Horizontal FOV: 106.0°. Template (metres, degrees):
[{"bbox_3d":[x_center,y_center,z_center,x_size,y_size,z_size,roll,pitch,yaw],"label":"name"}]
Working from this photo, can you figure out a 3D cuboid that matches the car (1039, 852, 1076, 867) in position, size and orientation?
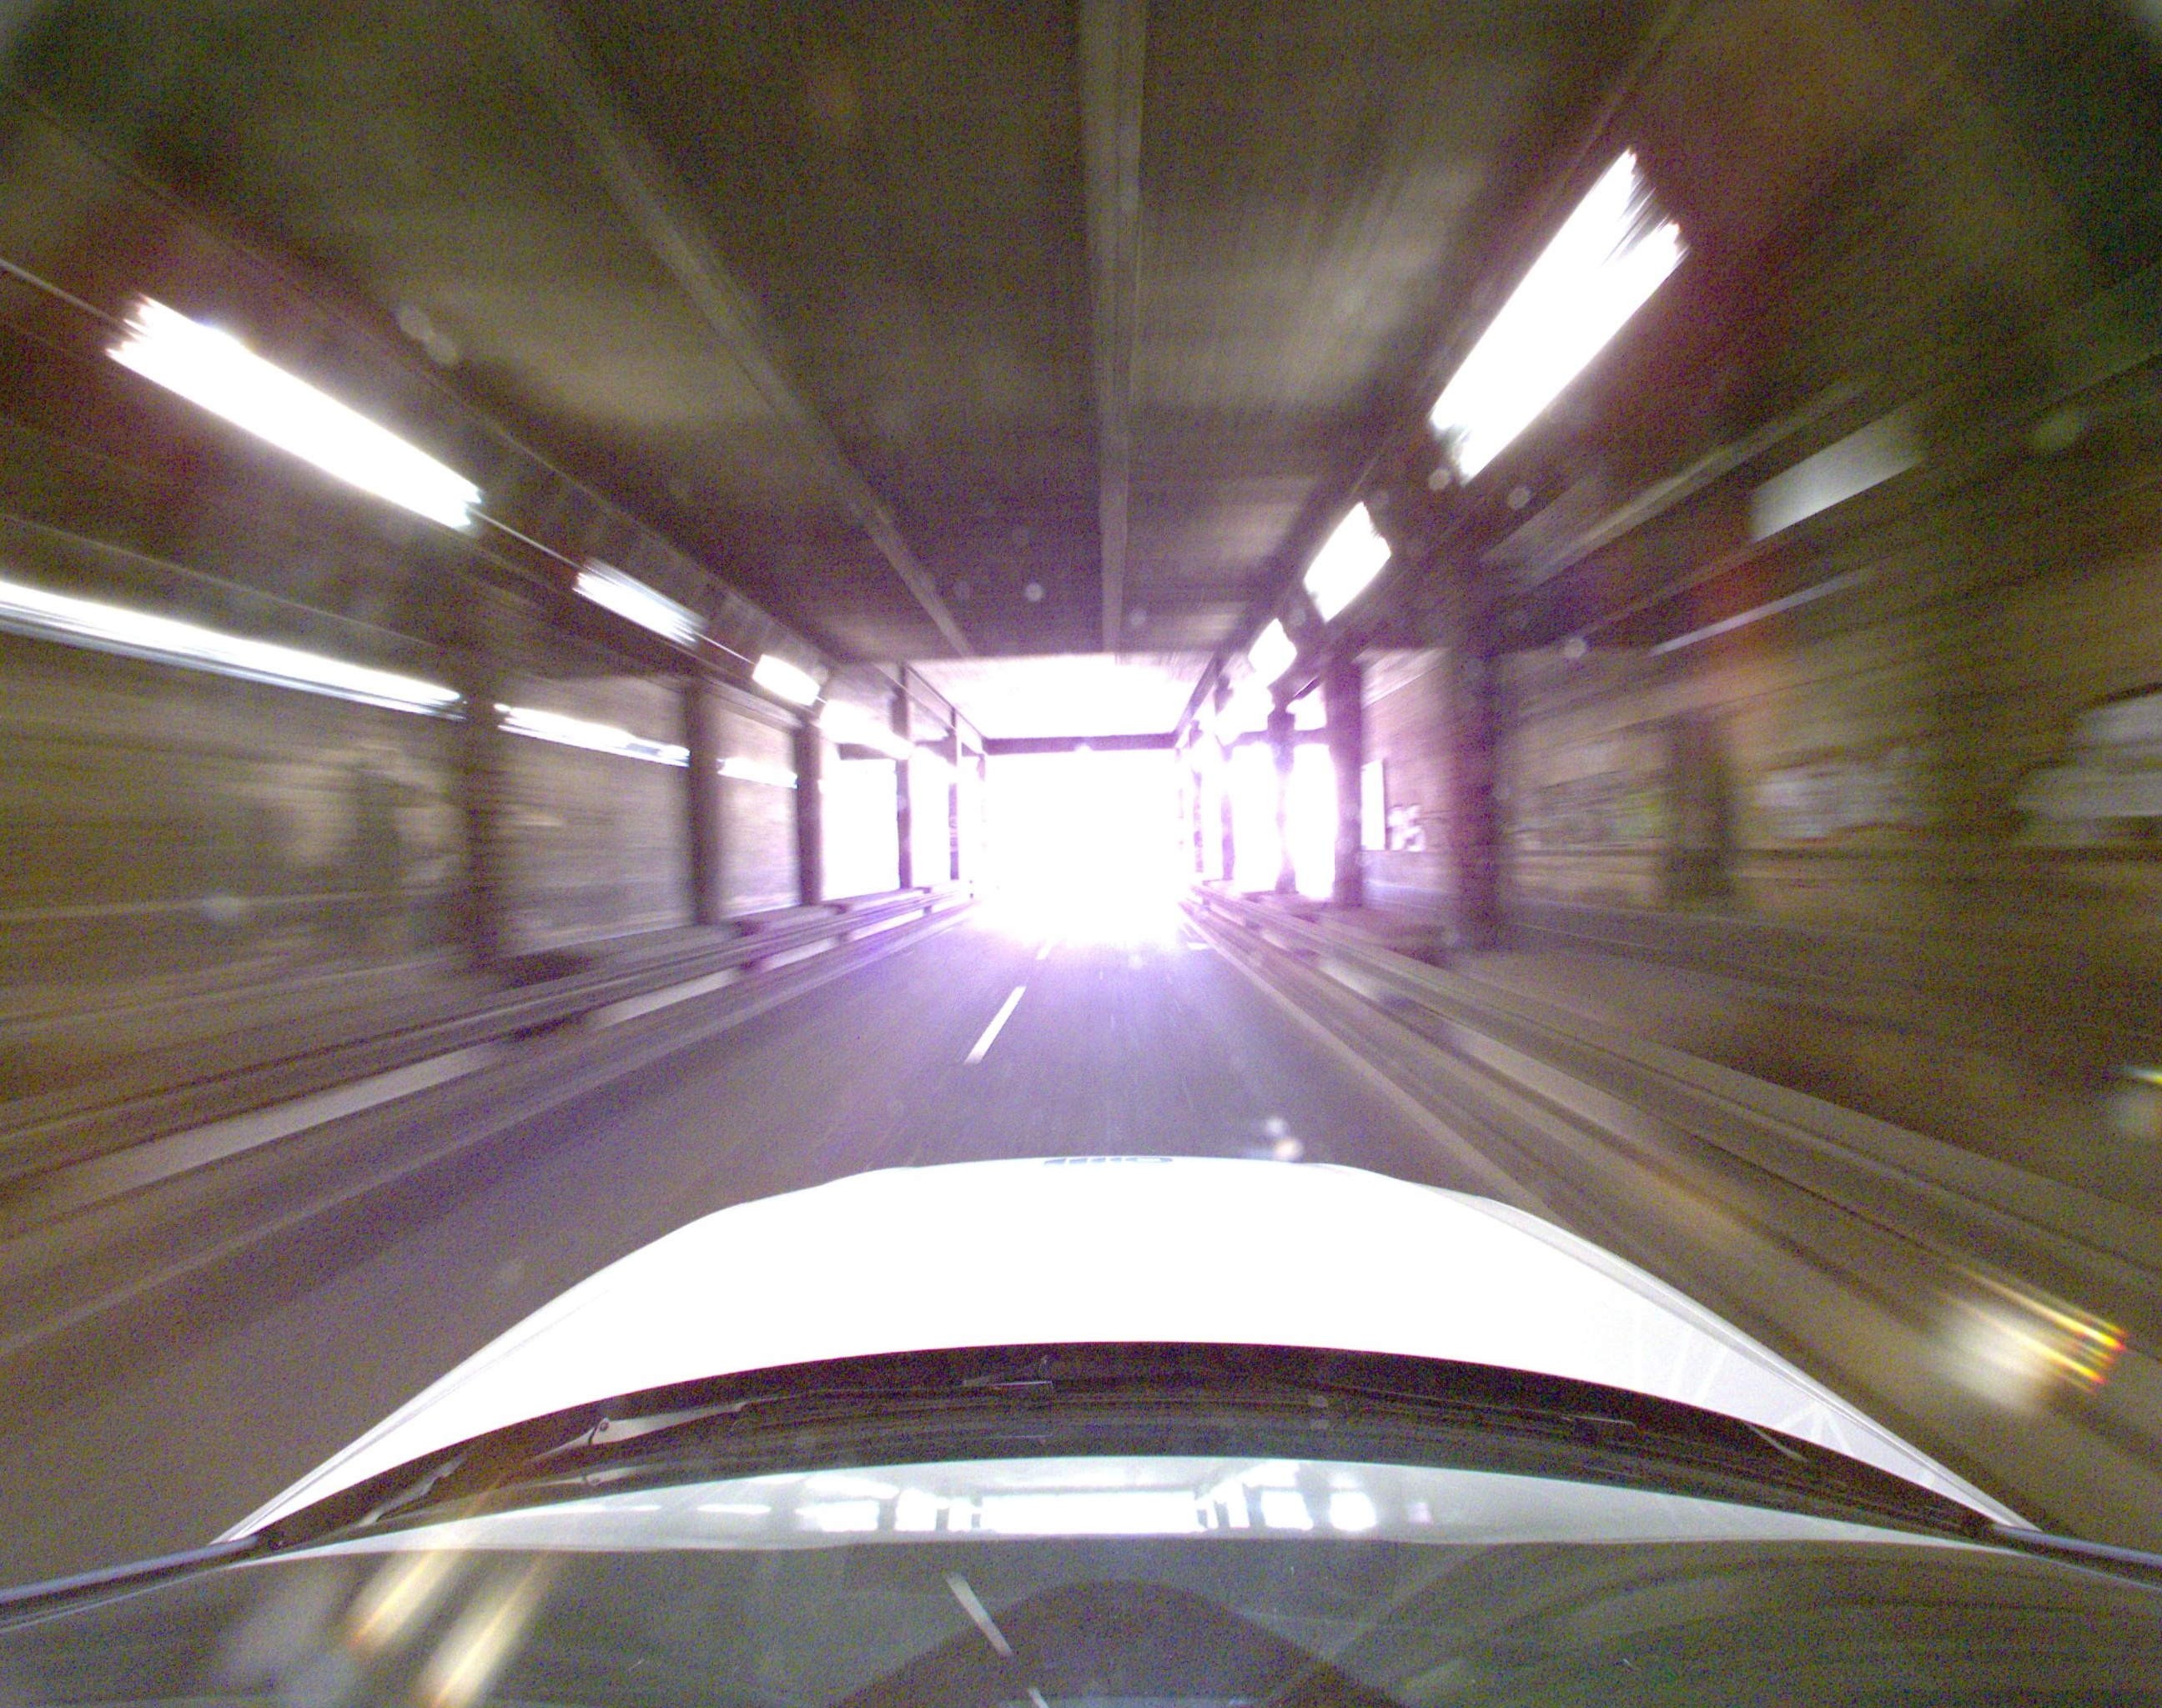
[{"bbox_3d":[-2.691,0.653,94.601,3.901,1.574,1.907,-2,0,-41],"label":"car"}]

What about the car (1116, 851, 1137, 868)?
[{"bbox_3d":[3.947,0.457,70.832,1.779,1.394,4.109,-2,0,3],"label":"car"}]

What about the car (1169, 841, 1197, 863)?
[{"bbox_3d":[10.007,-0.221,79.477,2.157,2.009,4.825,-2,0,12],"label":"car"}]

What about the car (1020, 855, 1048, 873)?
[{"bbox_3d":[-3.840,0.785,67.397,1.744,1.405,4.419,-1,0,3],"label":"car"}]

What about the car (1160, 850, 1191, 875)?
[{"bbox_3d":[6.207,0.524,53.712,1.937,1.528,4.097,-1,0,6],"label":"car"}]

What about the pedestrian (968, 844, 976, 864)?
[{"bbox_3d":[-9.186,0.003,68.458,0.490,1.640,0.620,-1,0,-25],"label":"pedestrian"}]

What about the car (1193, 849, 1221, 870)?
[{"bbox_3d":[10.098,0.415,64.933,1.718,1.500,4.016,-1,0,15],"label":"car"}]

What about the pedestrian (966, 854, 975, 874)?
[{"bbox_3d":[-9.058,0.828,66.696,0.515,1.640,0.620,-1,0,-25],"label":"pedestrian"}]

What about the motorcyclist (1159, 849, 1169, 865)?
[{"bbox_3d":[7.147,0.256,69.987,0.772,1.423,0.894,-2,0,10],"label":"motorcyclist"}]

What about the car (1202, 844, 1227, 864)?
[{"bbox_3d":[11.751,-0.004,71.588,1.801,1.582,4.015,-2,0,14],"label":"car"}]
